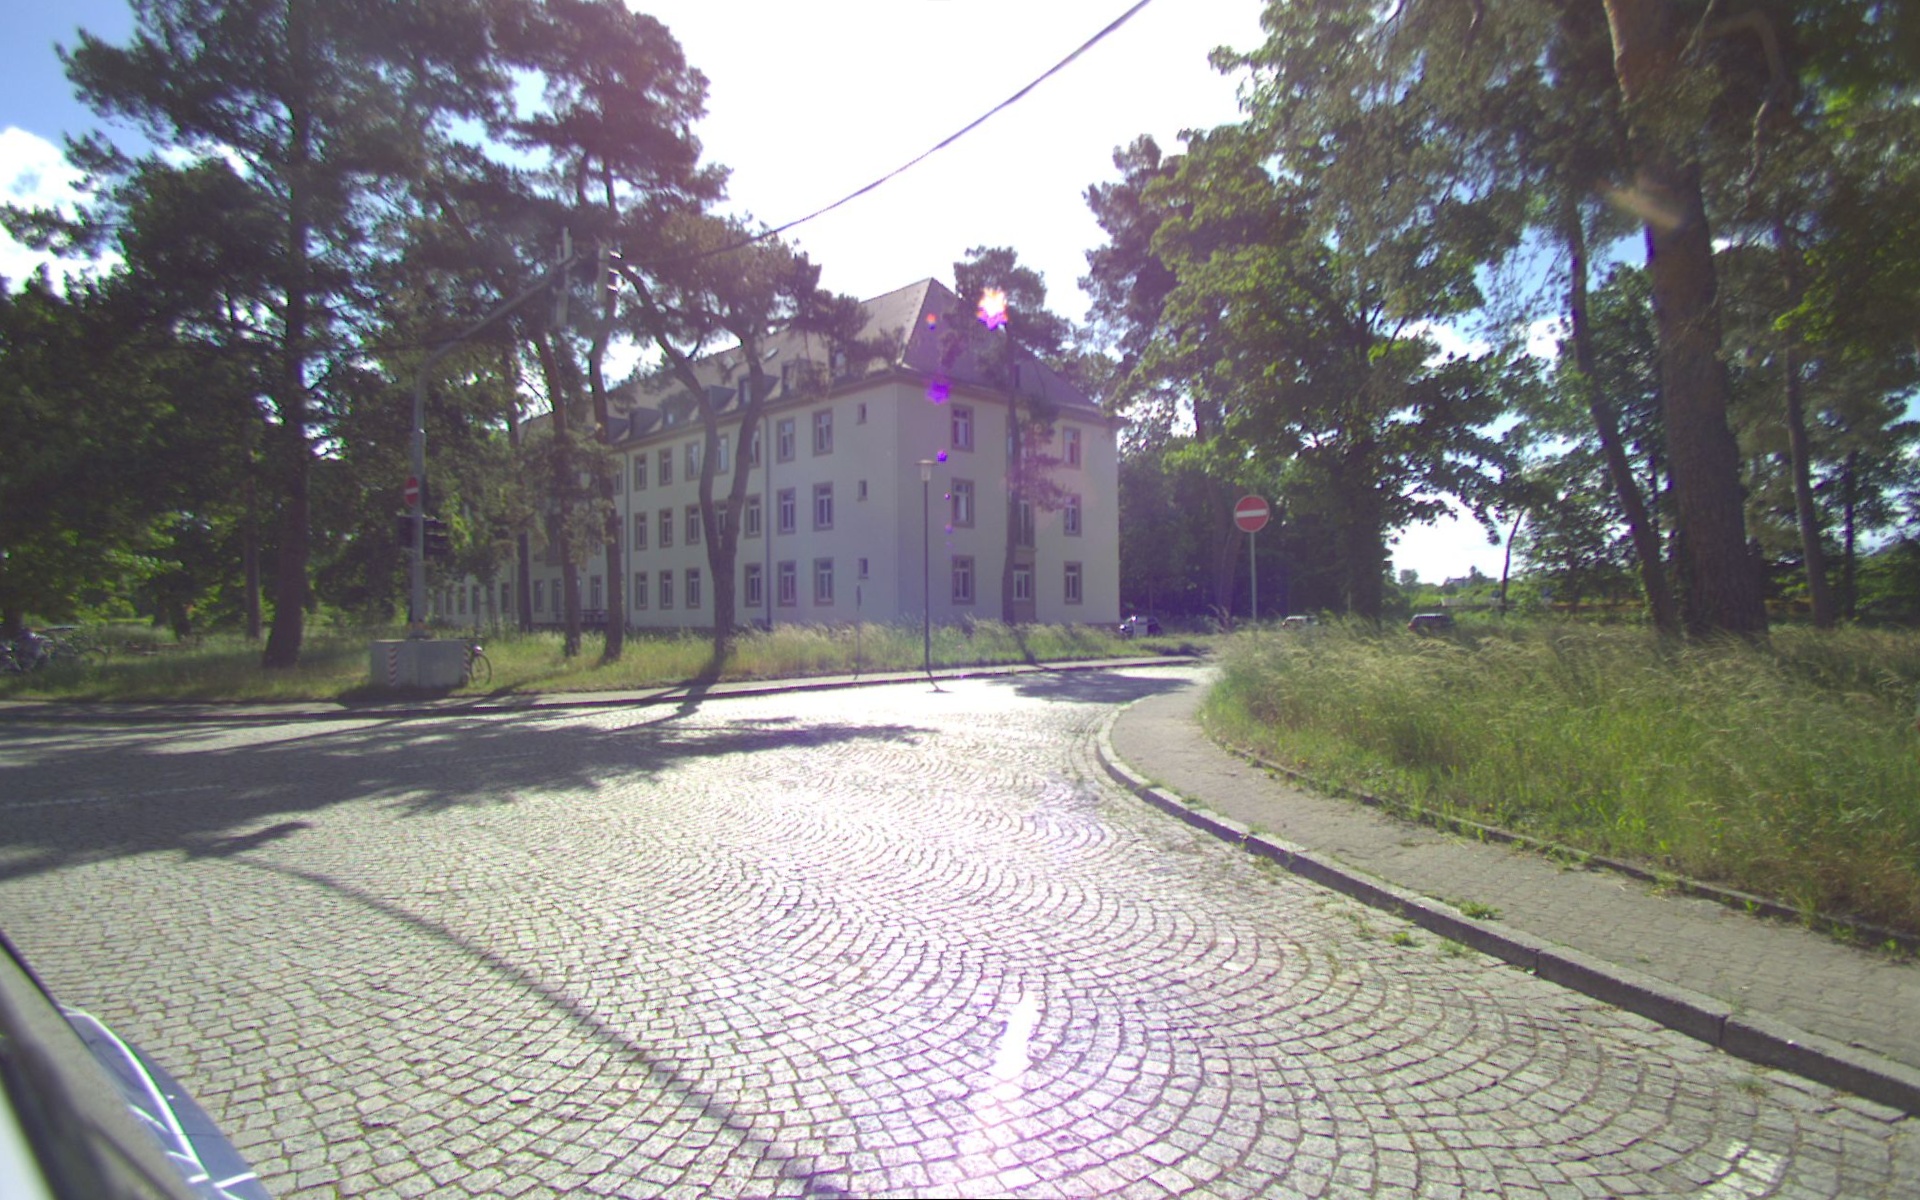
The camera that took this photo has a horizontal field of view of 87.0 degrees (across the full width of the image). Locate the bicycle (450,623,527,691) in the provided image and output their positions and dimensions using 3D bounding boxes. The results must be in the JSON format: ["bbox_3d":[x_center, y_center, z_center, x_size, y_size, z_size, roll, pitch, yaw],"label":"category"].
[{"bbox_3d":[-9.591,1.134,20.533,2.115,1.293,0.613,-2,1,43],"label":"bicycle"}]

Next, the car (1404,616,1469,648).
[{"bbox_3d":[25.624,1.718,54.411,3.999,1.642,1.842,2,-2,-44],"label":"car"}]

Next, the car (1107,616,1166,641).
[{"bbox_3d":[11.943,1.925,68.461,4.044,1.593,1.723,1,-2,-41],"label":"car"}]

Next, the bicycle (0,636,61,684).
[{"bbox_3d":[-27.000,1.709,28.762,0.621,1.293,2.087,-2,0,40],"label":"bicycle"}]

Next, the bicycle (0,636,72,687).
[{"bbox_3d":[-25.679,1.670,27.615,0.621,1.293,2.087,-2,0,40],"label":"bicycle"}]

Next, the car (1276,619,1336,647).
[{"bbox_3d":[20.606,1.928,60.147,4.047,1.593,1.721,1,-2,-44],"label":"car"}]

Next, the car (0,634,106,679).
[{"bbox_3d":[-33.006,1.972,35.762,1.815,1.534,3.995,-1,-2,36],"label":"car"}]

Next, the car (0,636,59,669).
[{"bbox_3d":[-41.701,2.256,43.653,1.815,1.374,3.994,-1,-2,37],"label":"car"}]

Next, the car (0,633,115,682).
[{"bbox_3d":[-30.880,1.886,33.609,1.815,1.513,3.995,-1,-2,36],"label":"car"}]

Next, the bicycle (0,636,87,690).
[{"bbox_3d":[-24.360,1.633,26.573,0.620,1.293,2.088,-2,0,38],"label":"bicycle"}]

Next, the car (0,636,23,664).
[{"bbox_3d":[-48.568,2.456,49.170,1.813,1.311,4.177,-1,-2,34],"label":"car"}]

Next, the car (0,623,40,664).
[{"bbox_3d":[-46.008,2.021,47.296,1.813,1.928,4.177,-1,-2,34],"label":"car"}]

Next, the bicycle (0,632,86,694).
[{"bbox_3d":[-22.914,1.555,24.830,0.621,1.293,2.087,-2,4,41],"label":"bicycle"}]

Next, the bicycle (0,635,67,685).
[{"bbox_3d":[-26.357,1.687,28.214,0.621,1.293,2.087,-2,0,40],"label":"bicycle"}]

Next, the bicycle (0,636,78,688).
[{"bbox_3d":[-25.029,1.657,27.072,0.621,1.293,2.088,-2,0,38],"label":"bicycle"}]
